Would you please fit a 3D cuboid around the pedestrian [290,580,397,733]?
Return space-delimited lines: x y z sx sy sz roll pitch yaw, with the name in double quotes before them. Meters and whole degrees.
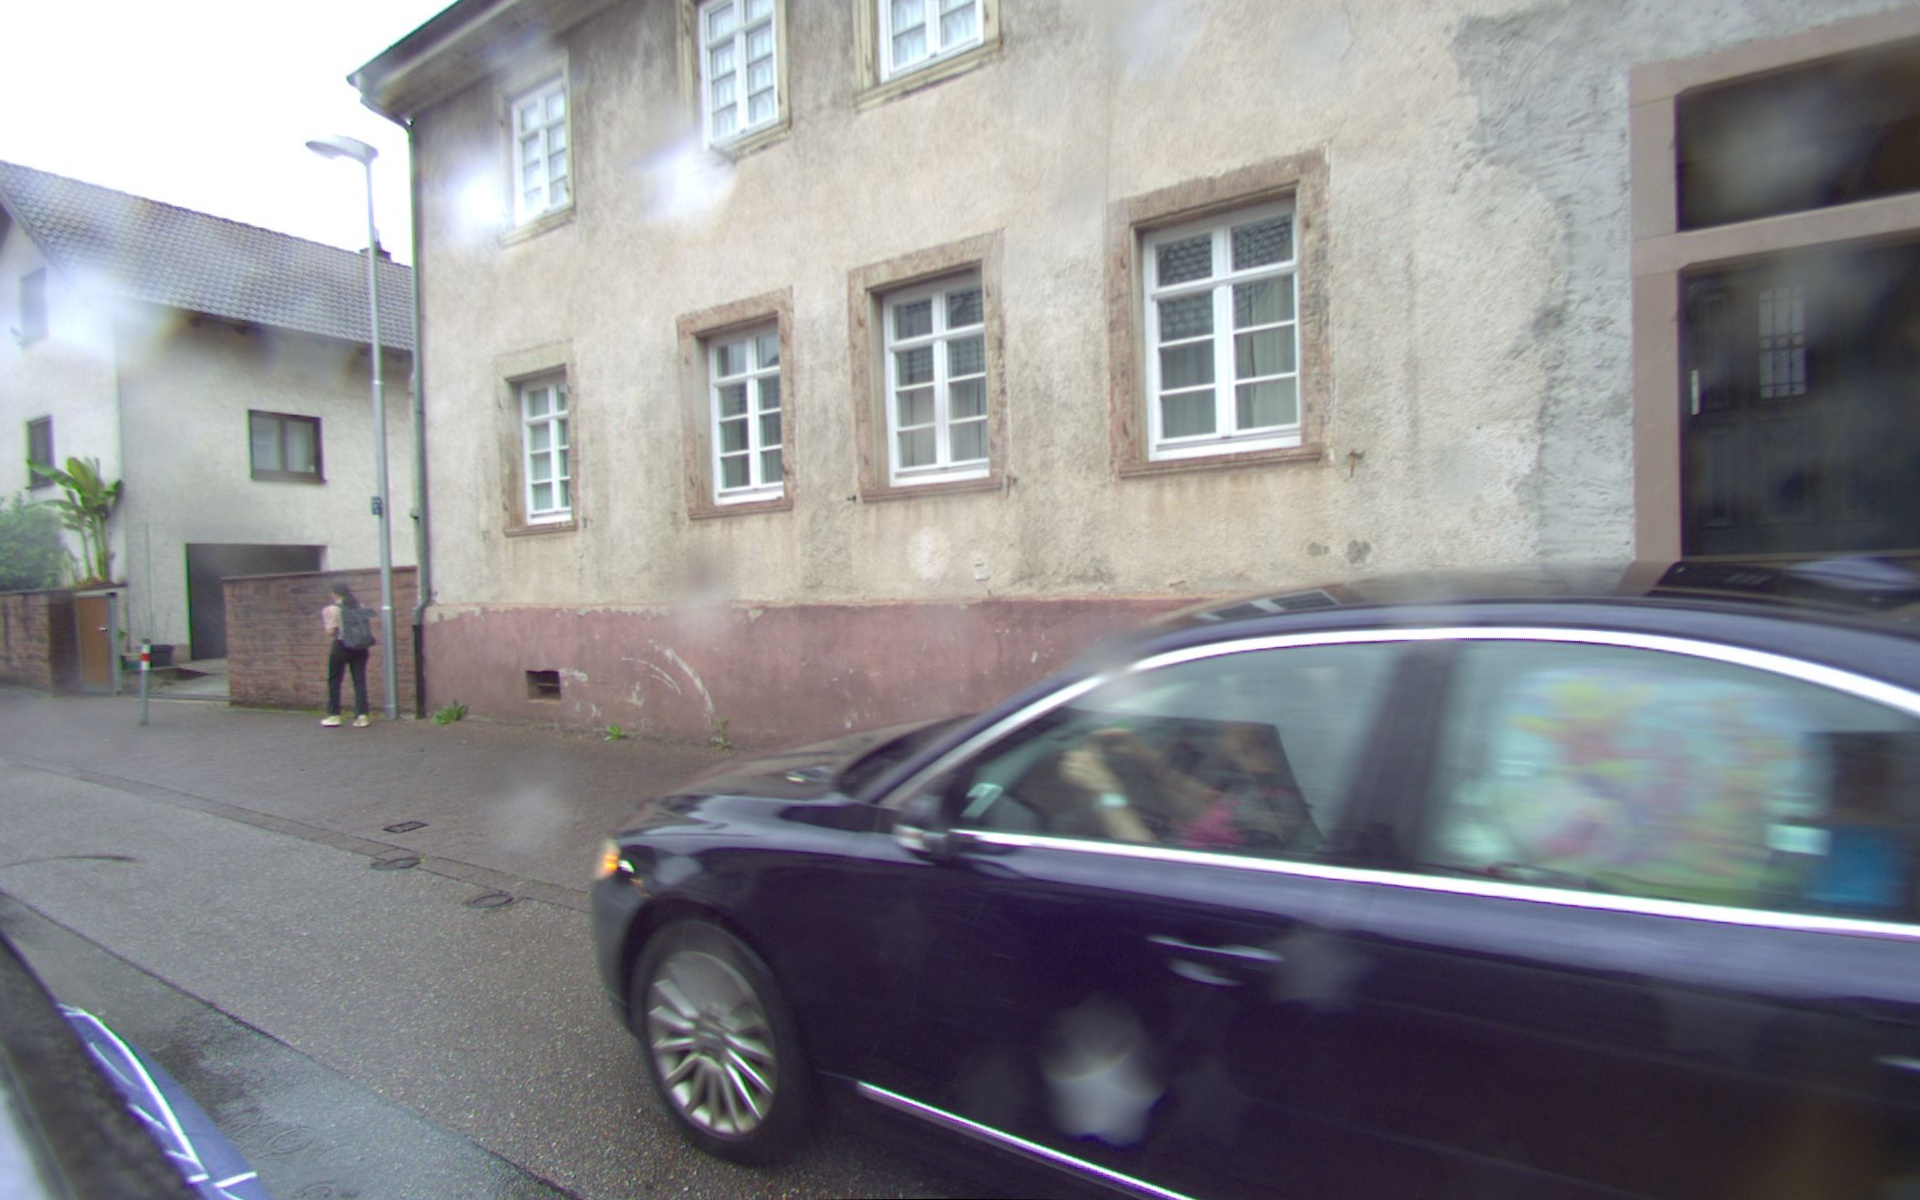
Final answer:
"pedestrian" -6.614 0.588 10.866 0.829 1.549 0.568 -1 3 29

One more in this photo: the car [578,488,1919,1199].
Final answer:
"car" 1.203 0.608 2.187 4.333 1.520 1.681 -1 1 36
